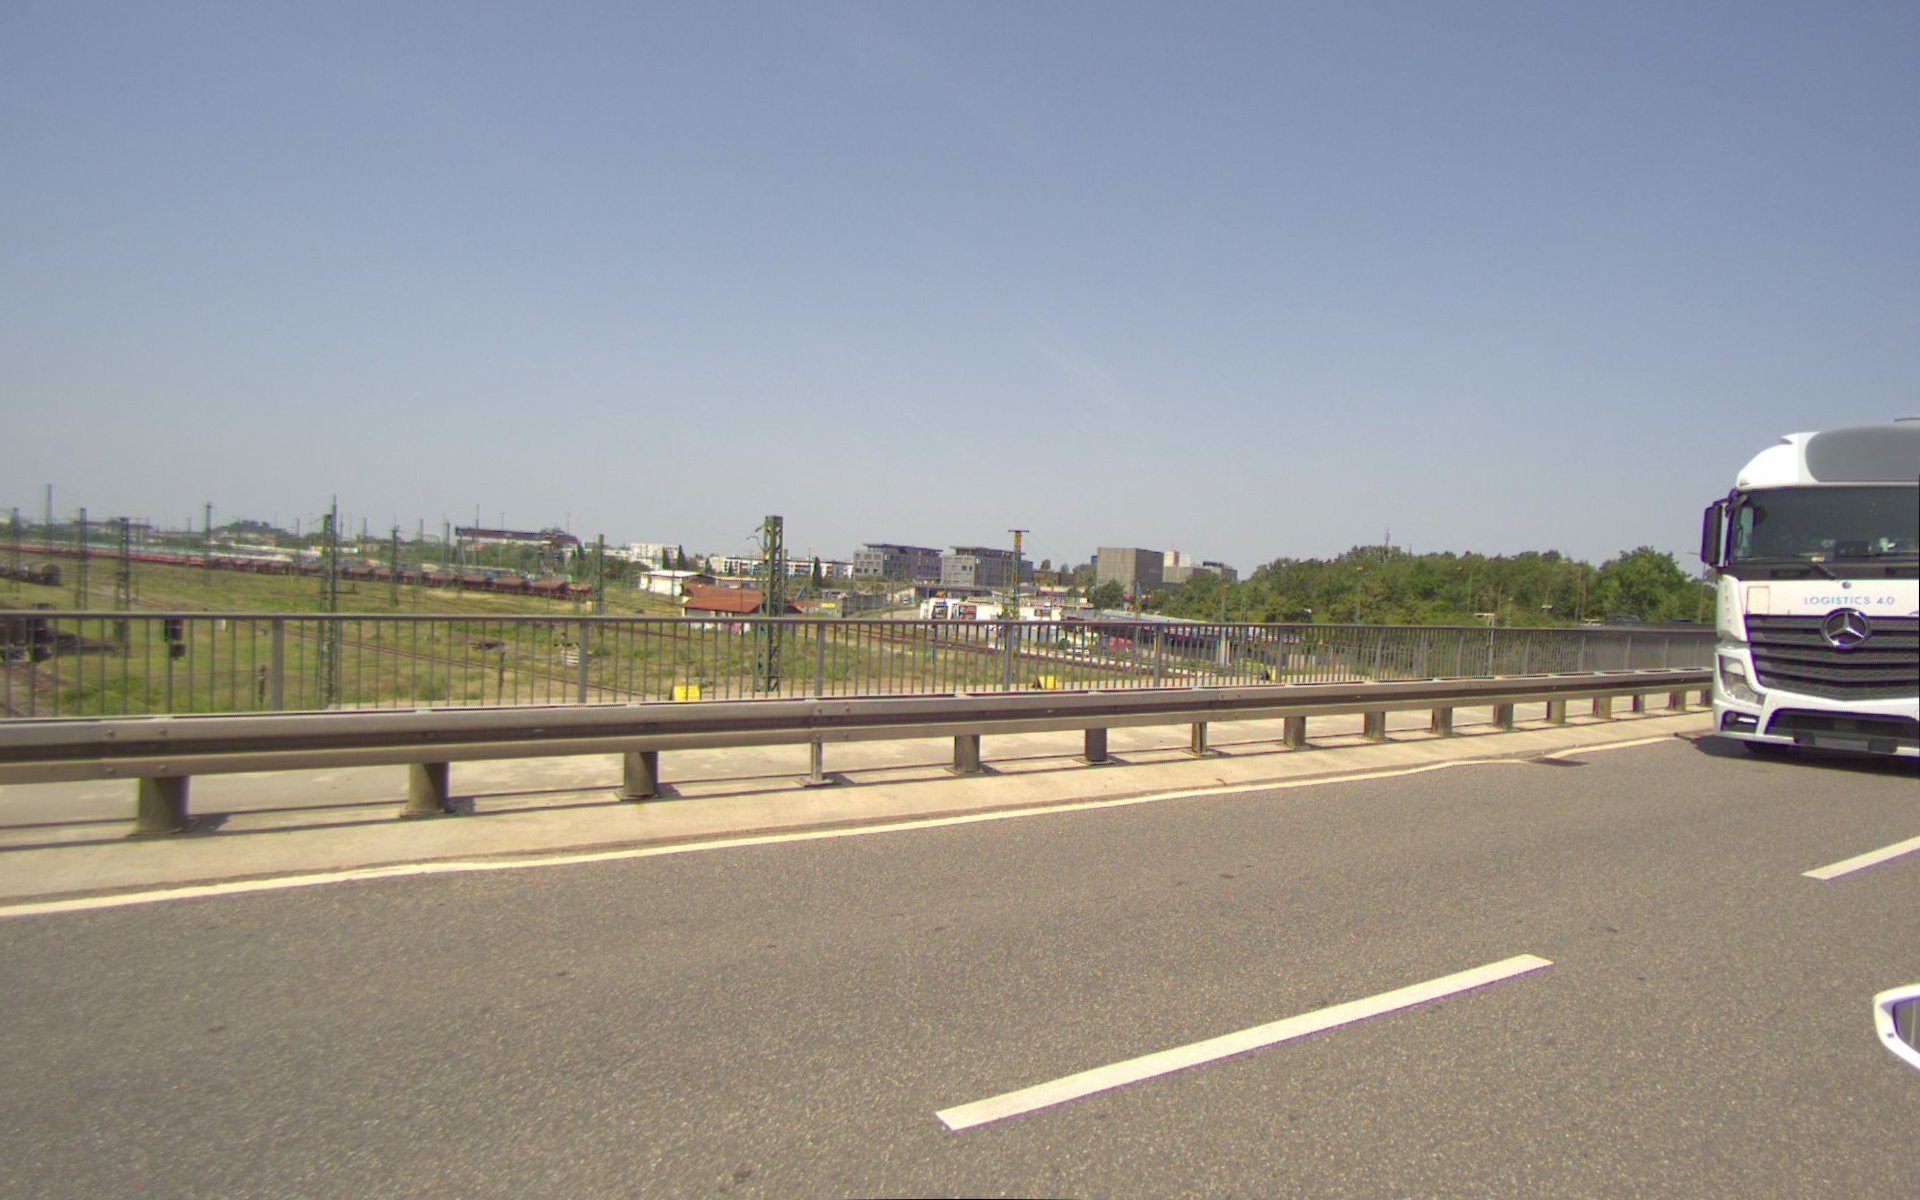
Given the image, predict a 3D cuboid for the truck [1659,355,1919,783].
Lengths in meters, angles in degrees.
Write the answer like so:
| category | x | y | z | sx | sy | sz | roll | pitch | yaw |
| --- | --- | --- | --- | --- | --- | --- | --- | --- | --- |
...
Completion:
| category | x | y | z | sx | sy | sz | roll | pitch | yaw |
| --- | --- | --- | --- | --- | --- | --- | --- | --- | --- |
| truck | 11.165 | -0.255 | 11.874 | 6.123 | 4.045 | 2.688 | 1 | 1 | -35 |
